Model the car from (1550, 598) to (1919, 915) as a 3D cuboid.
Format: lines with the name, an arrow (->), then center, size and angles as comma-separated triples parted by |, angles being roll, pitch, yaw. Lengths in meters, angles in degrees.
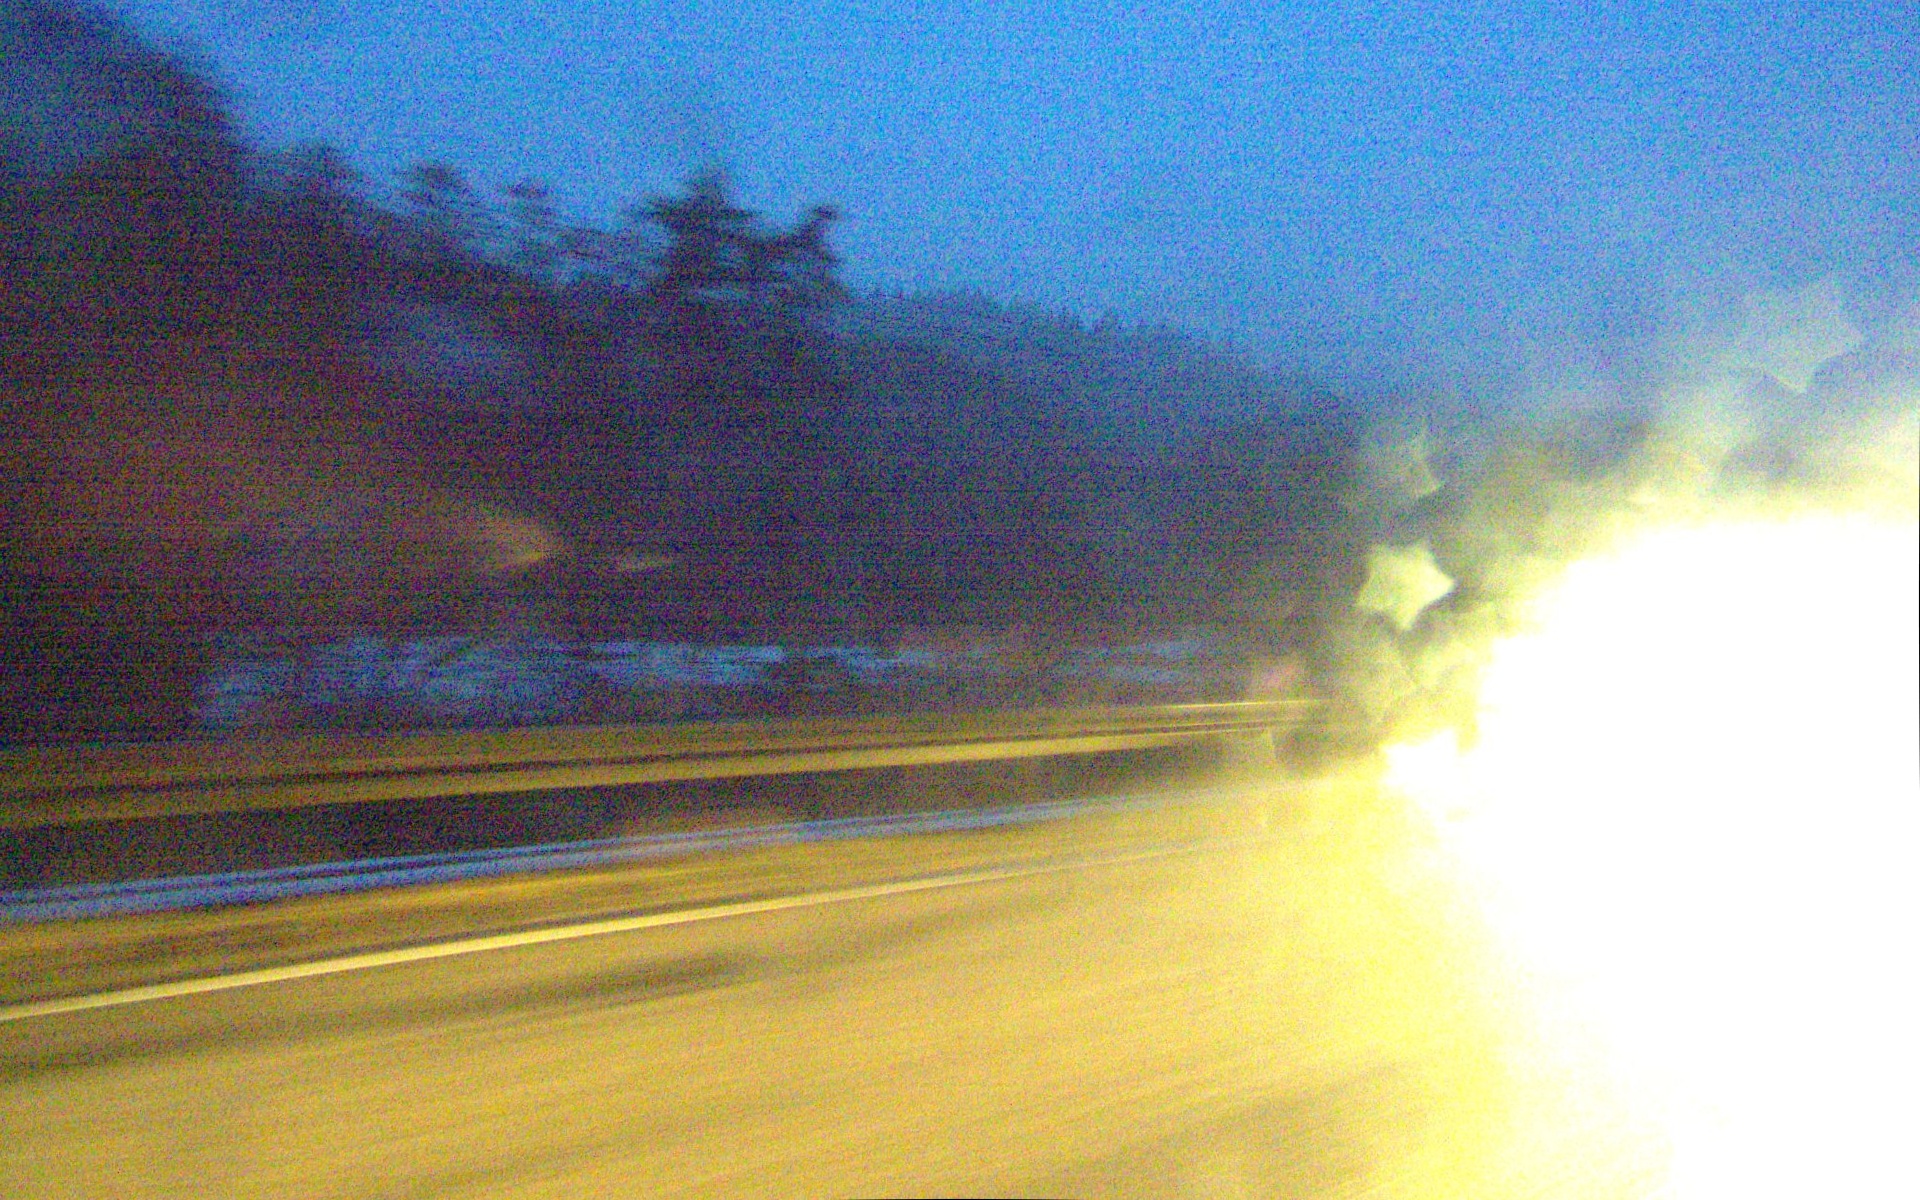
car -> 6.415, 0.851, 7.046 | 4.625, 1.542, 1.846 | 2, 2, -30
